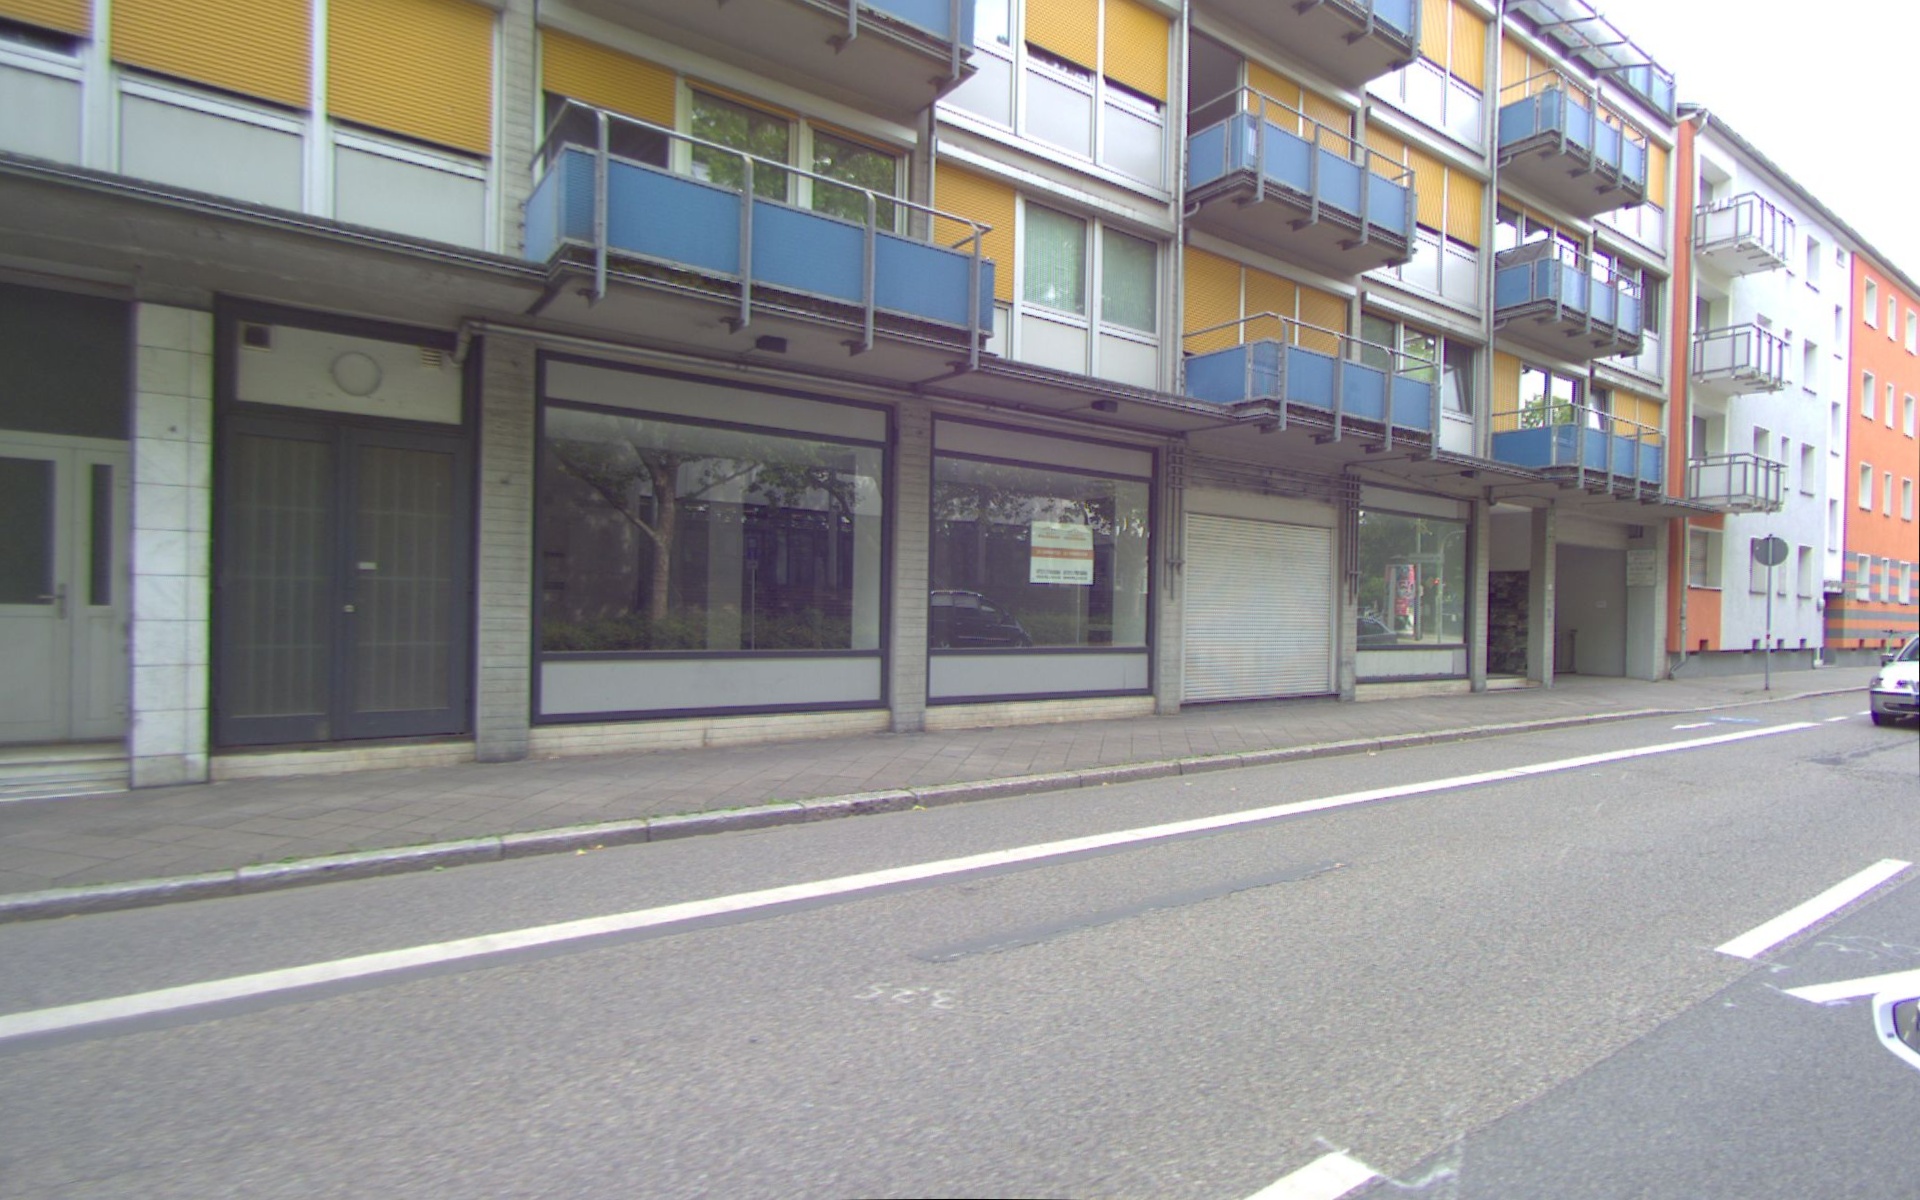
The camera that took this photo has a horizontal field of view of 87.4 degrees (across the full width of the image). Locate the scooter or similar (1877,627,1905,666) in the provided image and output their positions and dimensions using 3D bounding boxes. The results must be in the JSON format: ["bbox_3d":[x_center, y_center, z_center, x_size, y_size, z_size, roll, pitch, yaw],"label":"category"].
[{"bbox_3d":[29.610,1.484,31.941,1.376,1.199,0.375,3,-1,-36],"label":"scooter or similar"}]

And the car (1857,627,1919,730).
[{"bbox_3d":[15.288,1.144,15.221,4.060,1.446,1.745,1,-2,-36],"label":"car"}]
